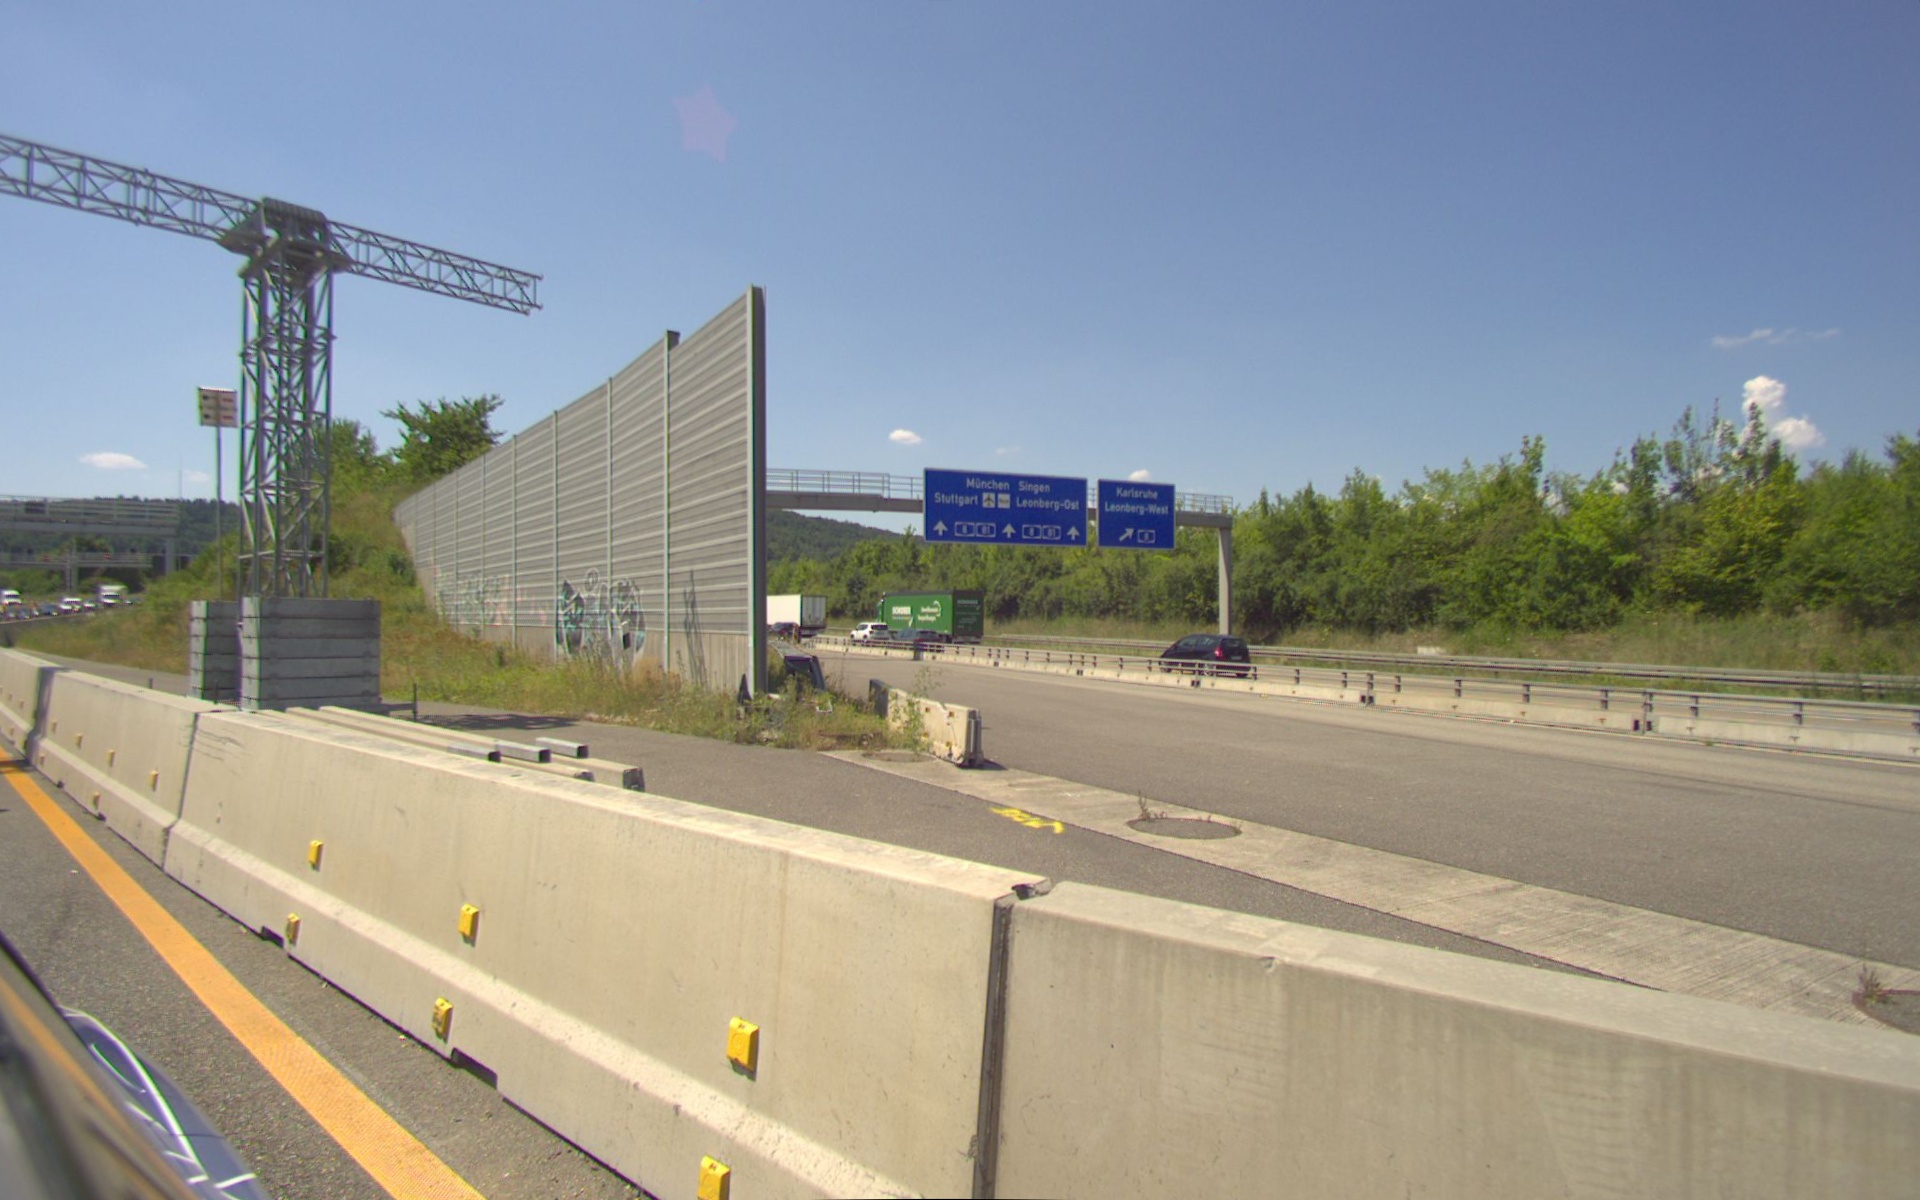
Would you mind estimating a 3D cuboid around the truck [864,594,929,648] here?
[{"bbox_3d":[-5.360,1.694,84.957,3.496,4.302,5.798,0,0,-26],"label":"truck"}]

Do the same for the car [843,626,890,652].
[{"bbox_3d":[-6.496,2.681,70.137,1.692,1.636,4.183,0,-1,-29],"label":"car"}]

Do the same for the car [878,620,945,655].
[{"bbox_3d":[-2.587,1.925,52.860,1.673,1.743,4.465,1,-1,-29],"label":"car"}]

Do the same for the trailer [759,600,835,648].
[{"bbox_3d":[-16.228,2.198,99.274,3.496,4.302,13.954,0,0,-26],"label":"trailer"}]

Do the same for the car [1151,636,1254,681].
[{"bbox_3d":[9.053,2.156,38.029,1.692,1.502,3.699,1,-1,-30],"label":"car"}]

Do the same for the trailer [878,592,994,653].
[{"bbox_3d":[-2.153,1.634,78.341,3.496,4.302,13.954,0,0,-26],"label":"trailer"}]
